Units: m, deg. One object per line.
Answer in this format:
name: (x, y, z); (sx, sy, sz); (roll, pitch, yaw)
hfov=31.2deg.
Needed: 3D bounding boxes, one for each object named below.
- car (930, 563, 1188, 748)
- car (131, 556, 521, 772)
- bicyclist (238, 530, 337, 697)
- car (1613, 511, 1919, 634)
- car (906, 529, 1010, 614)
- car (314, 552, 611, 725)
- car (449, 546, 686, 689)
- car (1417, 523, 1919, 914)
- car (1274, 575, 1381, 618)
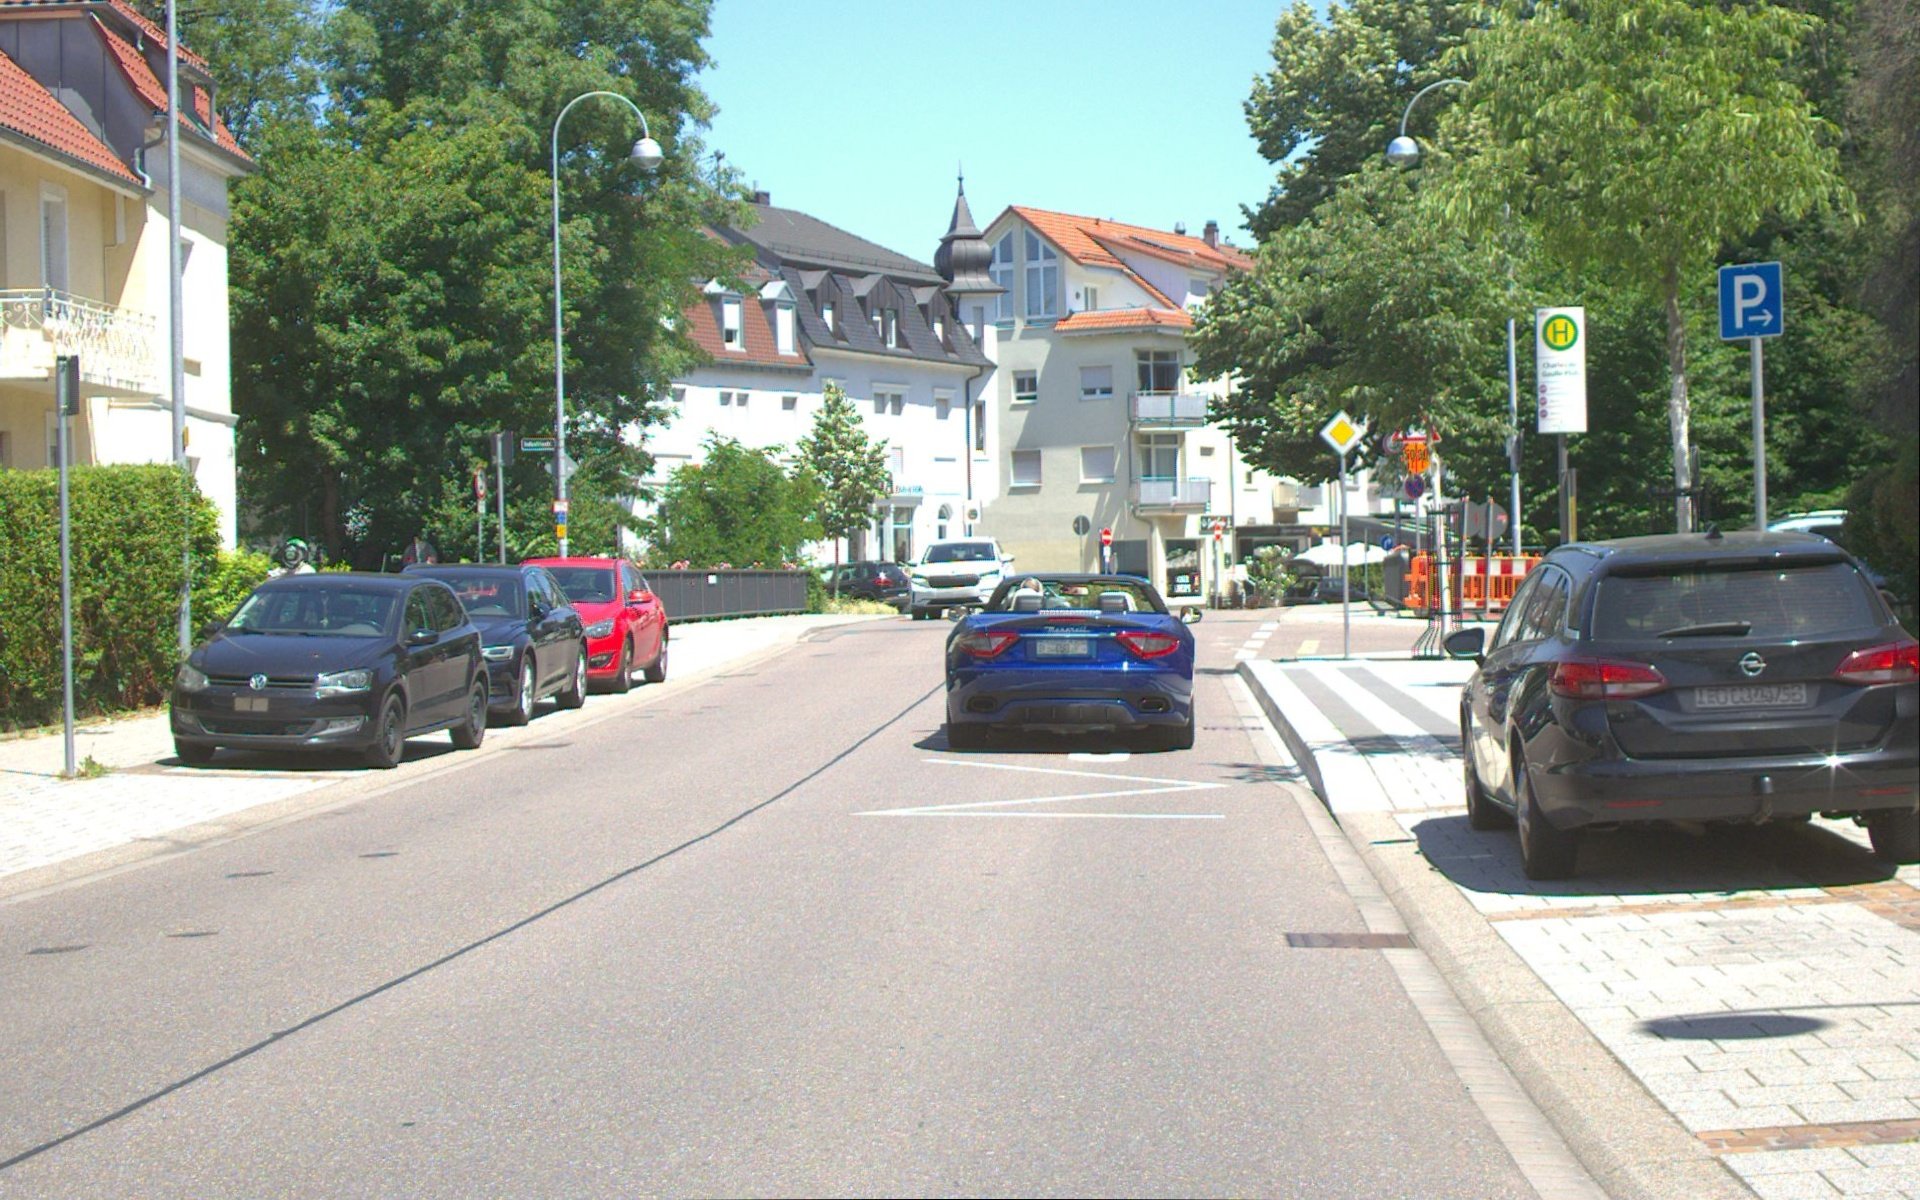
car: (0.860, 0.389, 27.425); (1.871, 1.337, 4.595); (0, 0, 3)
car: (-4.880, 0.434, 27.072); (1.788, 1.454, 4.196); (2, 2, 7)
bicyclist: (-6.806, 0.127, 34.815); (0.782, 1.653, 0.835); (-1, 0, 2)
car: (12.547, -0.416, 53.519); (4.336, 1.832, 1.750); (1, 0, -5)
car: (-0.016, -0.586, 68.910); (1.878, 1.591, 4.359); (-2, 1, 2)
car: (-4.740, 0.310, 33.507); (1.863, 1.456, 5.307); (1, 2, 3)
car: (-4.420, 0.155, 39.417); (1.878, 1.474, 4.737); (2, 1, 3)
car: (3.342, 0.438, 16.392); (1.834, 1.499, 5.063); (-3, 1, 3)
car: (13.272, -0.136, 124.028); (1.716, 1.455, 4.119); (2, 1, 41)
